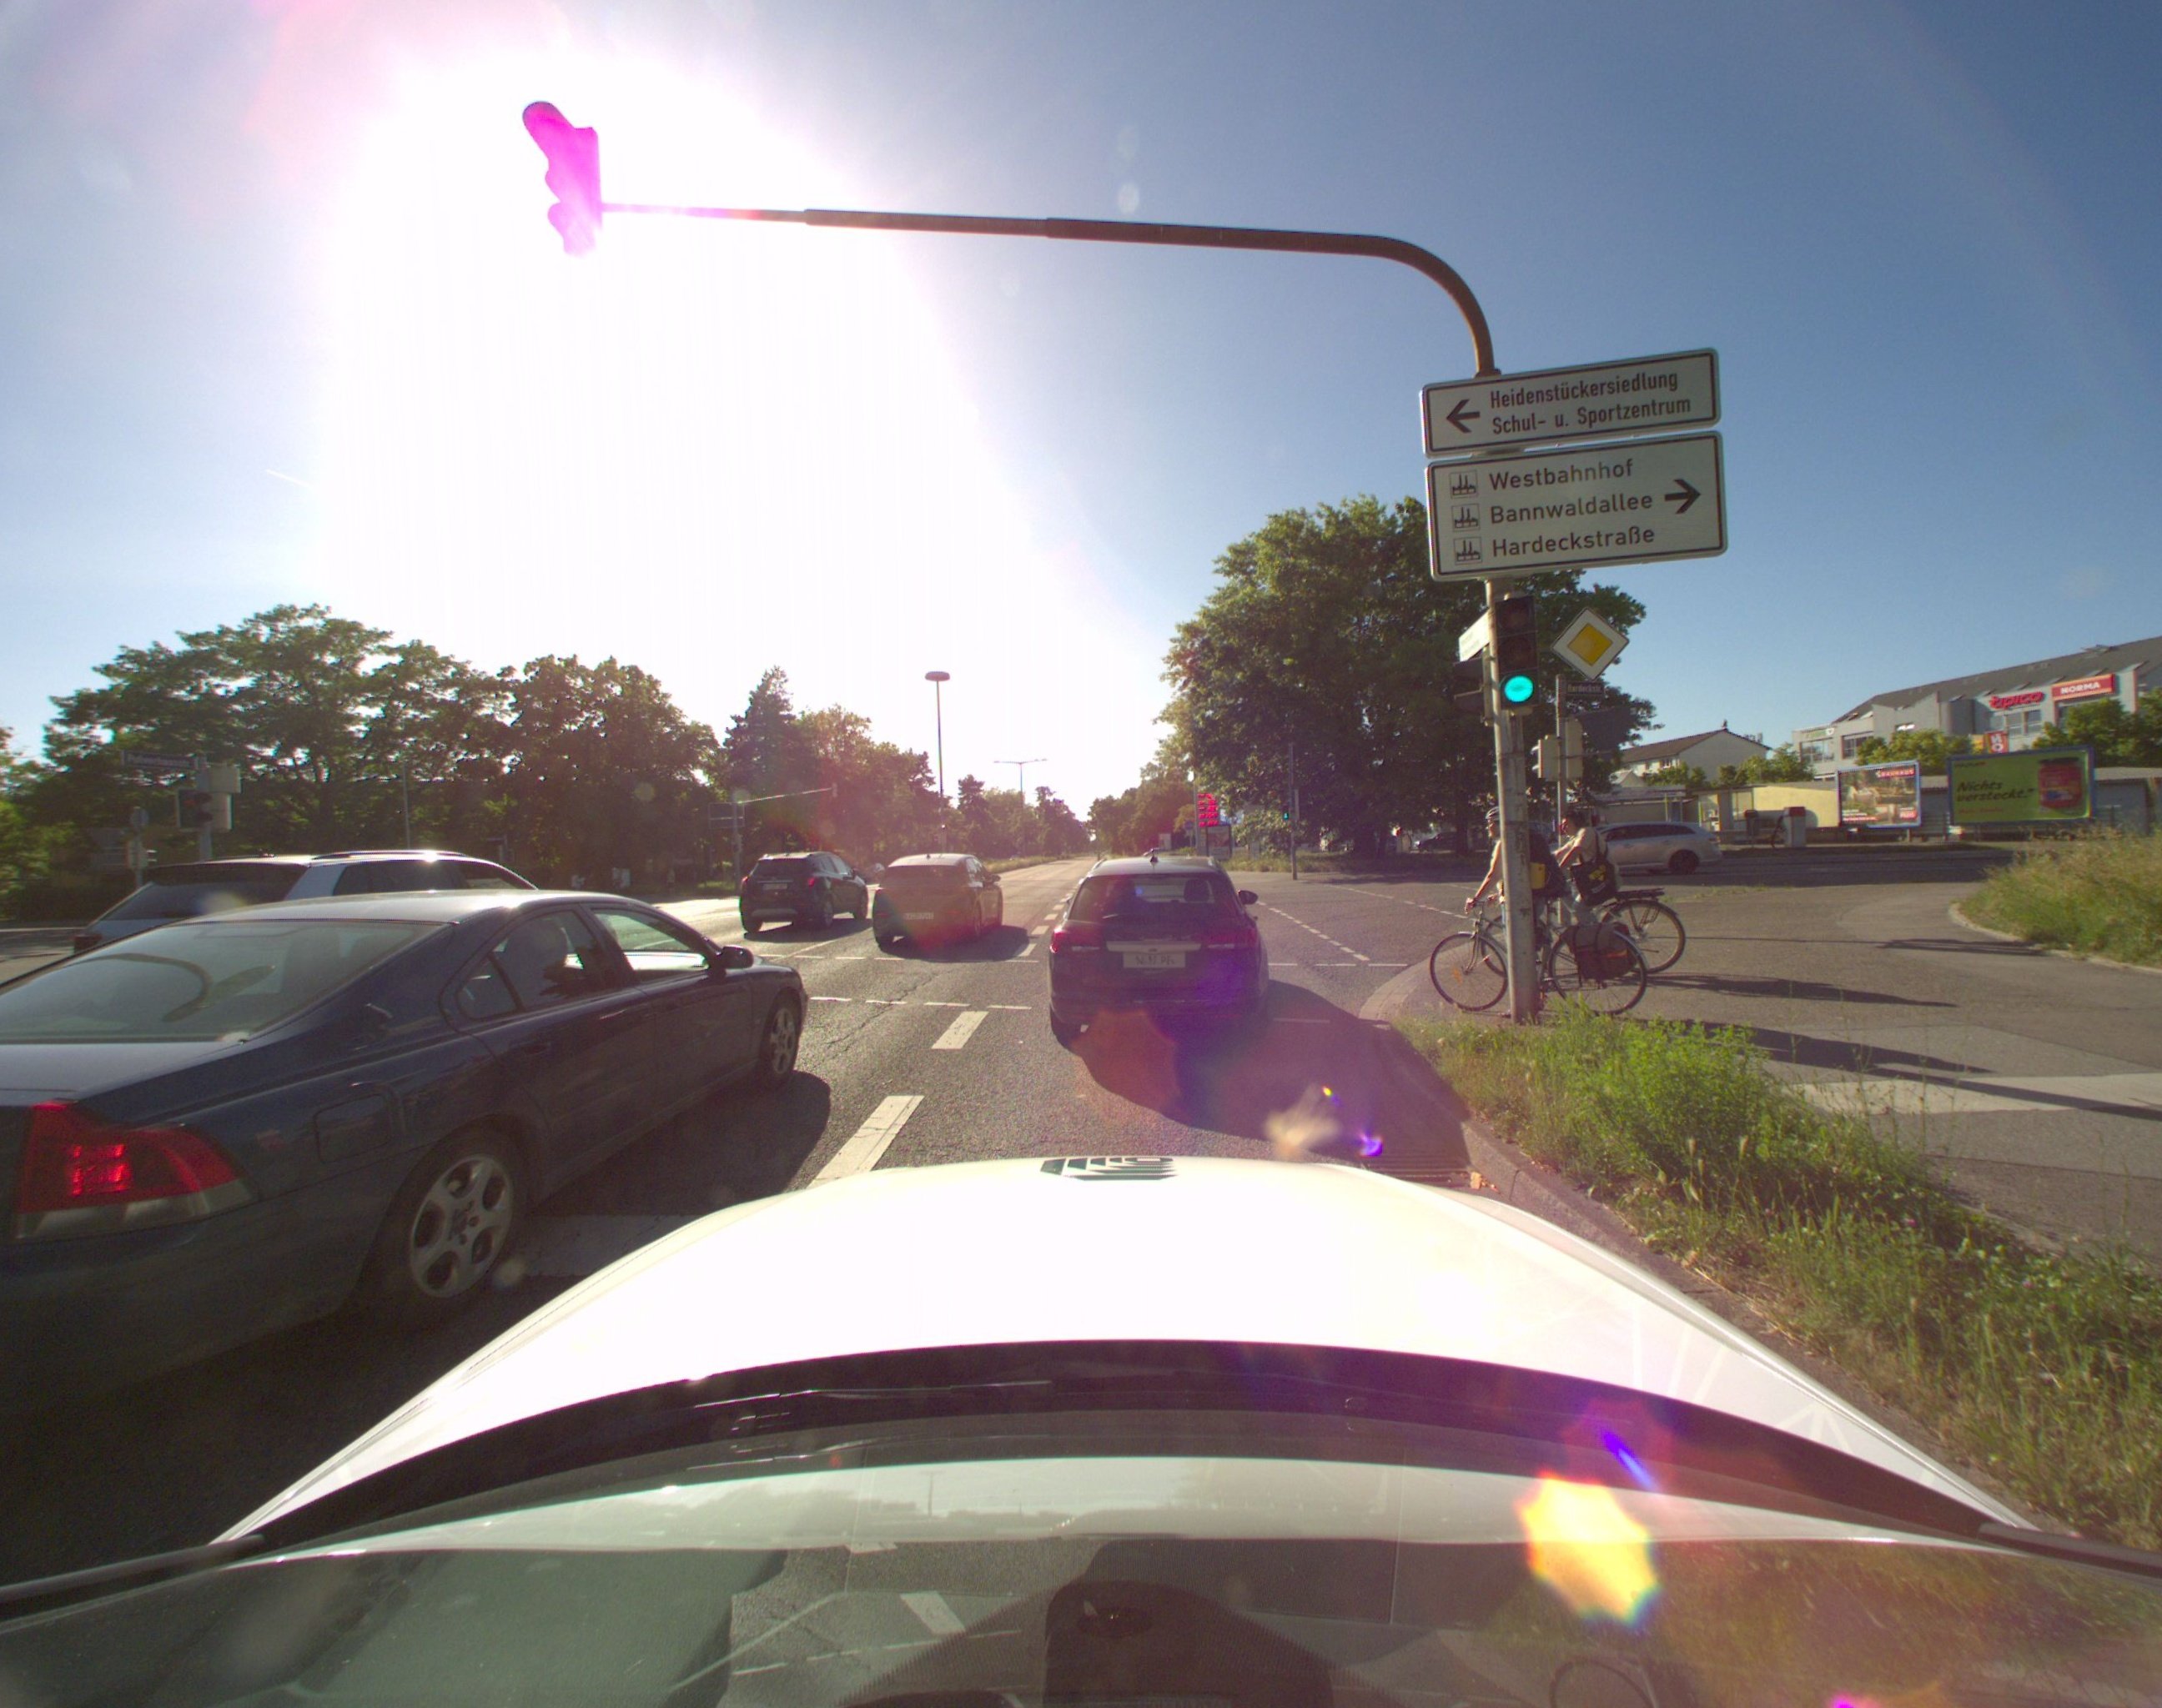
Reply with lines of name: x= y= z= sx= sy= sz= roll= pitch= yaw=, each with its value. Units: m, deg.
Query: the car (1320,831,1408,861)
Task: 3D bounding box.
car: x=20.068 y=-0.558 z=57.872 sx=5.615 sy=2.099 sz=2.000 roll=0 pitch=0 yaw=0

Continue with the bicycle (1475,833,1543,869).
bicycle: x=14.984 y=-0.101 z=28.535 sx=2.008 sy=1.141 sz=0.530 roll=-3 pitch=0 yaw=7

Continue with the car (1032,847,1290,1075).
car: x=0.690 y=0.741 z=7.870 sx=1.754 sy=1.491 sz=4.295 roll=-2 pitch=1 yaw=3

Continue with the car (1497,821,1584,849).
car: x=23.269 y=-0.950 z=41.285 sx=4.003 sy=1.376 sz=1.747 roll=0 pitch=0 yaw=-22

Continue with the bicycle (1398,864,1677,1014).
bicycle: x=3.669 y=0.694 z=6.684 sx=1.846 sy=1.076 sz=0.534 roll=-7 pitch=-4 yaw=41

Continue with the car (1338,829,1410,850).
car: x=18.840 y=-0.918 z=52.415 sx=3.987 sy=1.335 sz=1.793 roll=0 pitch=0 yaw=-10

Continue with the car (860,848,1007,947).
car: x=-2.594 y=0.707 z=15.383 sx=1.830 sy=1.588 sz=4.366 roll=0 pitch=0 yaw=2

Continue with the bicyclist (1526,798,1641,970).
bicyclist: x=5.054 y=0.316 z=8.196 sx=0.797 sy=1.635 sz=0.546 roll=-6 pitch=-4 yaw=38

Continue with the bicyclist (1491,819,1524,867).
bicyclist: x=14.942 y=-0.373 z=28.537 sx=0.823 sy=1.641 sz=0.544 roll=-3 pitch=0 yaw=7

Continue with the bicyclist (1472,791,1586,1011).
bicyclist: x=3.674 y=0.380 z=6.680 sx=0.578 sy=1.697 sz=0.530 roll=-7 pitch=-4 yaw=41

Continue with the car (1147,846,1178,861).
car: x=10.975 y=-0.084 z=110.247 sx=2.010 sy=2.013 sz=3.954 roll=0 pitch=0 yaw=-39

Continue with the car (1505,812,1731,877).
car: x=14.632 y=-0.237 z=22.499 sx=4.839 sy=1.489 sz=1.849 roll=-3 pitch=-1 yaw=13

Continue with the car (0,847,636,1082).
car: x=-6.667 y=0.789 z=7.966 sx=1.934 sy=1.653 sz=4.371 roll=-1 pitch=0 yaw=5

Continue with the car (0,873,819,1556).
car: x=-2.937 y=0.847 z=3.966 sx=1.830 sy=1.395 sz=4.365 roll=0 pitch=0 yaw=1

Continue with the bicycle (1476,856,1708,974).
bicycle: x=5.083 y=0.627 z=8.188 sx=1.846 sy=1.076 sz=0.534 roll=-6 pitch=-4 yaw=39

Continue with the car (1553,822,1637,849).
car: x=31.969 y=-1.122 z=50.688 sx=3.974 sy=1.607 sz=2.000 roll=0 pitch=0 yaw=0

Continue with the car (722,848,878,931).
car: x=-6.201 y=0.724 z=18.561 sx=1.903 sy=1.653 sz=4.366 roll=0 pitch=0 yaw=2

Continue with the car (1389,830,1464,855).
car: x=20.987 y=-0.696 z=49.483 sx=3.985 sy=1.512 sz=1.528 roll=0 pitch=0 yaw=-9
